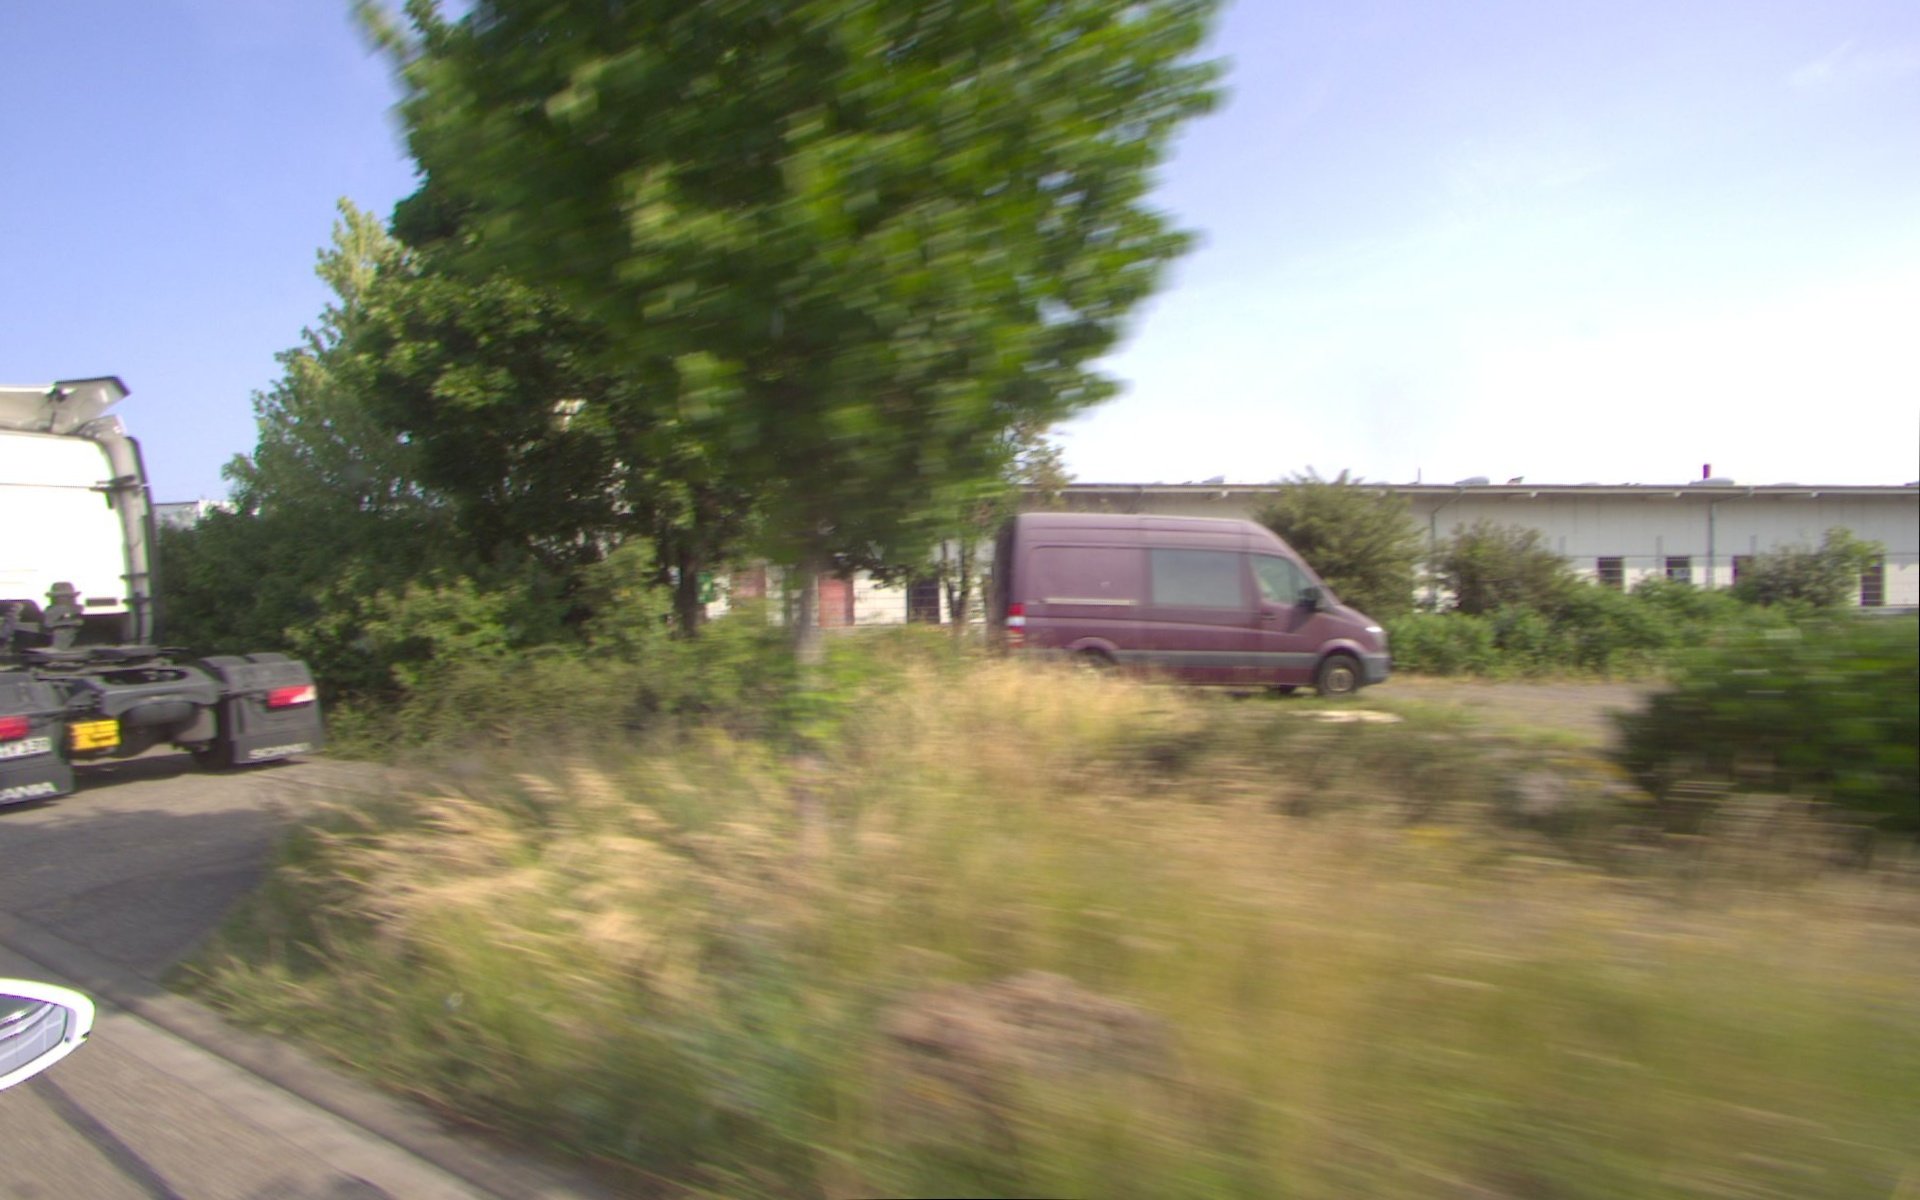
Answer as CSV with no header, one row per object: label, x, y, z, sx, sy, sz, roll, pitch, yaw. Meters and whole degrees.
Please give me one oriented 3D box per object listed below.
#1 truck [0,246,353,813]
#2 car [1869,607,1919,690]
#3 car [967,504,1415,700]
truck,-8.858,-0.482,9.496,5.959,4.018,2.686,-1,2,31
car,18.324,0.873,17.215,1.726,1.490,3.729,1,-1,-9
car,3.238,0.133,14.822,5.933,2.556,2.576,1,-3,-9
